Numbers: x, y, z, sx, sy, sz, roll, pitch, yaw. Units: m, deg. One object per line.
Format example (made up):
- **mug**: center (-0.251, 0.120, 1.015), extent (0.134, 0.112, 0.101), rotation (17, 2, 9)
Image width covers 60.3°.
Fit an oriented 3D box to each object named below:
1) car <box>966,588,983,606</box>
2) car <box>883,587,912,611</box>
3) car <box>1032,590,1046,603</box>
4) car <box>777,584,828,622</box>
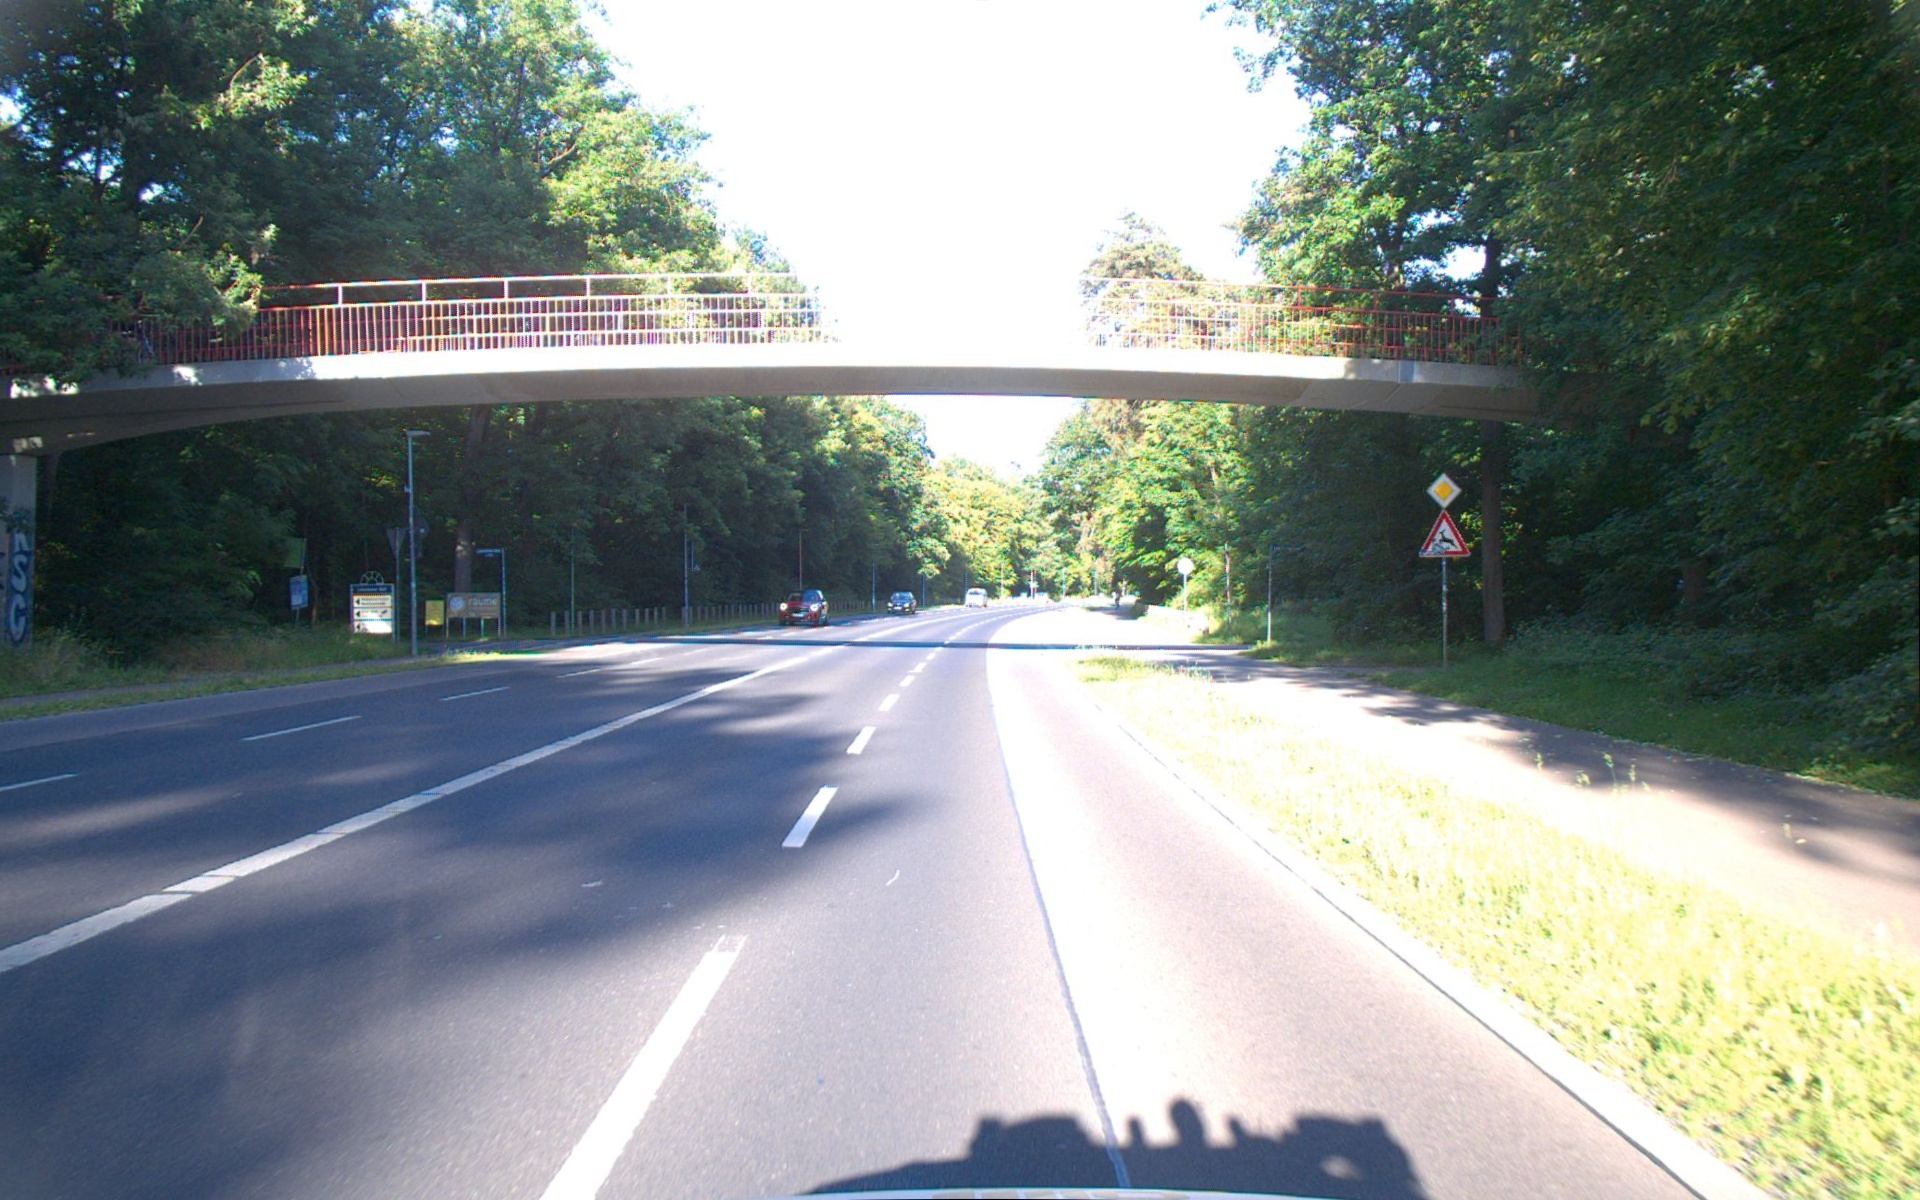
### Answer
- **car**: center (1.488, -0.311, 165.828), extent (1.670, 1.739, 4.001), rotation (0, 0, 1)
- **car**: center (-4.271, -0.074, 113.548), extent (1.687, 1.601, 4.179), rotation (2, 1, 2)
- **car**: center (11.341, -0.501, 236.312), extent (1.746, 1.739, 4.003), rotation (0, 0, 6)
- **car**: center (-6.942, 0.112, 73.128), extent (1.725, 1.610, 4.169), rotation (1, 0, 2)
